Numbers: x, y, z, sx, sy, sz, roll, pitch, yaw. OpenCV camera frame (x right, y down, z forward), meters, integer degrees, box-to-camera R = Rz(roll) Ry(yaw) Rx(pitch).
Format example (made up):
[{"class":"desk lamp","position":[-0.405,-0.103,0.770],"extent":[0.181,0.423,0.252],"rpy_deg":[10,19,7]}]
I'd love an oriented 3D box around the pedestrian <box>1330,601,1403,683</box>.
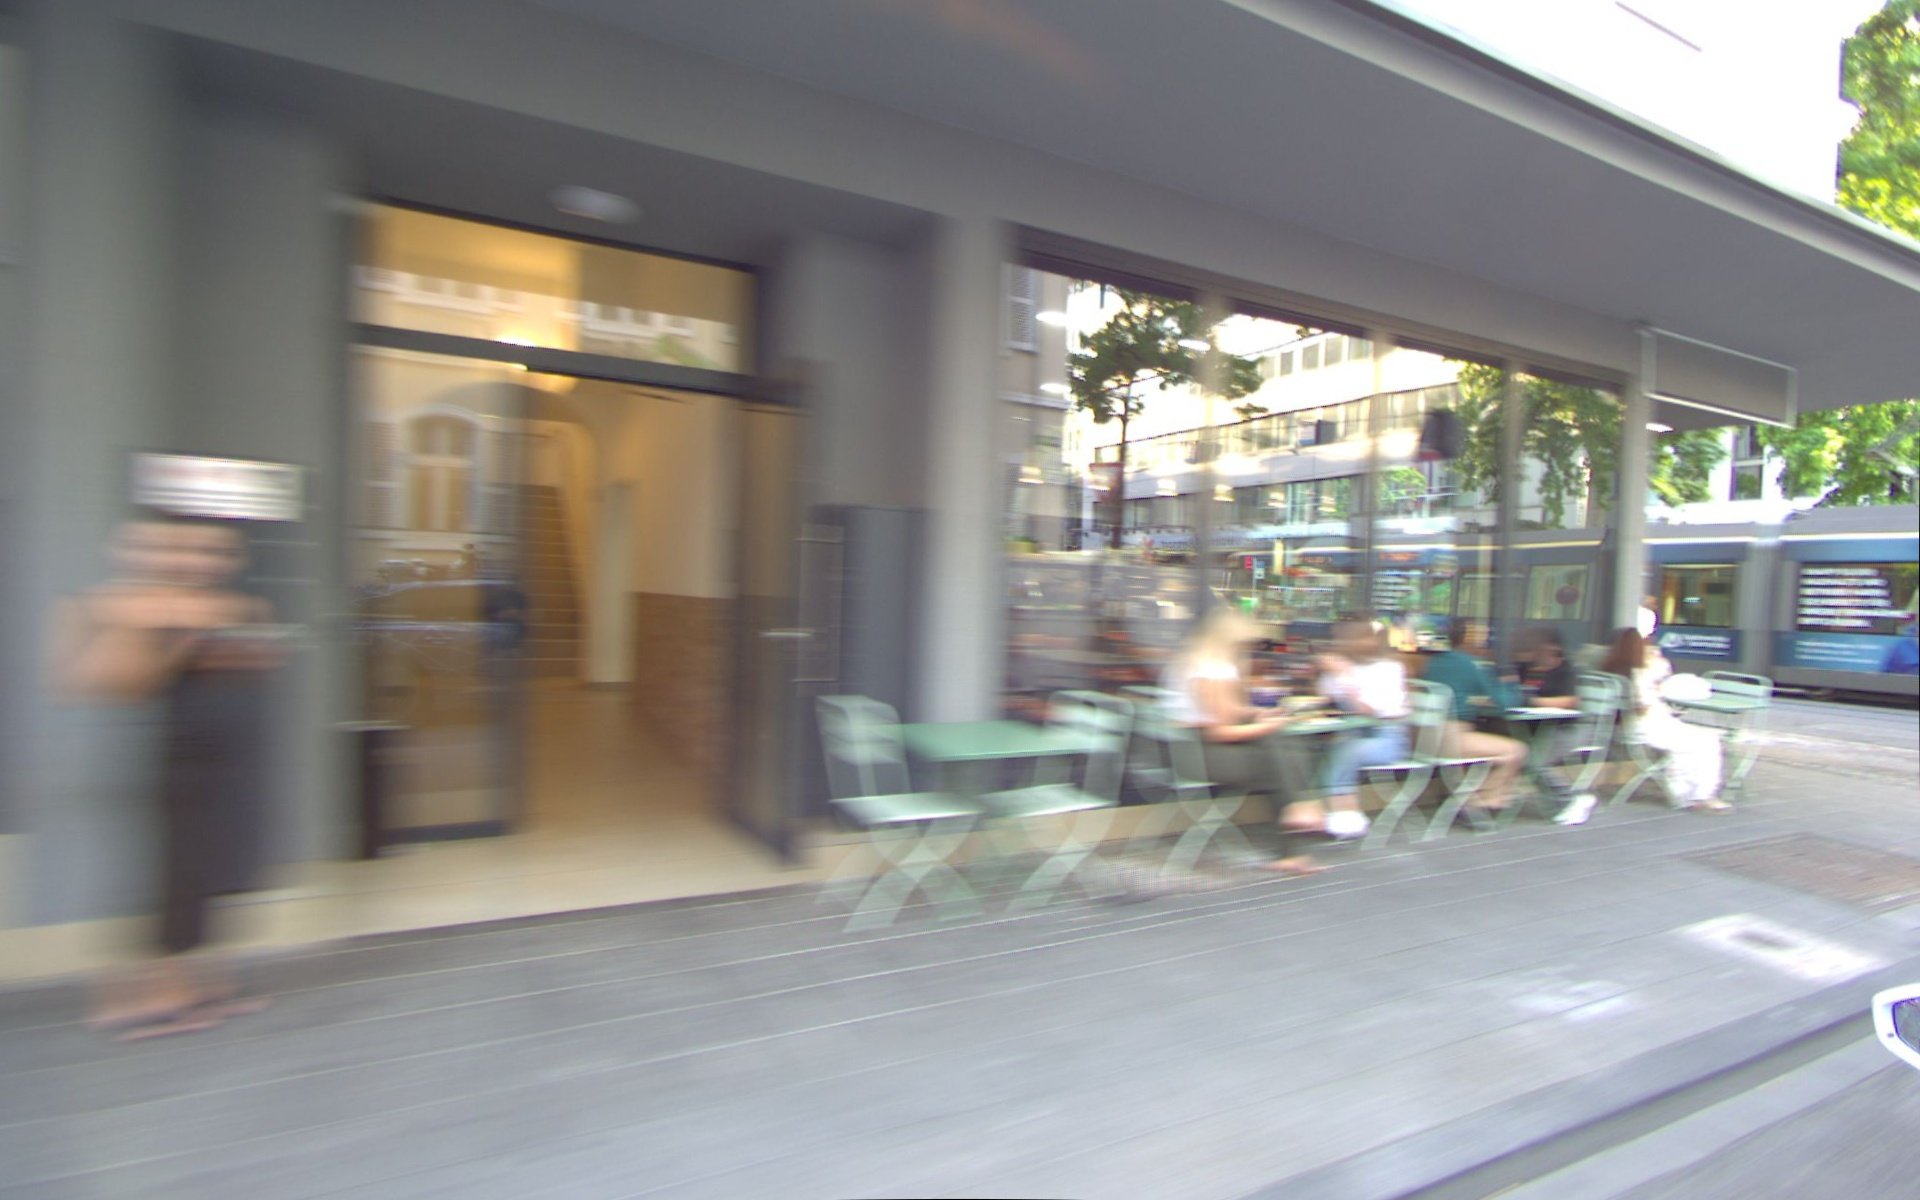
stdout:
[{"class":"pedestrian","position":[7.113,0.733,17.595],"extent":[0.709,1.380,0.918],"rpy_deg":[2,0,-26]}]

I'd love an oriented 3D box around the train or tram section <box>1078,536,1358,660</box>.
[{"class":"train or tram section","position":[8.395,-0.099,34.742],"extent":[3.017,3.570,10.452],"rpy_deg":[3,-1,-28]}]

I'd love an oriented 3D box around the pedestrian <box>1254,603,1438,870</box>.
[{"class":"pedestrian","position":[2.141,0.685,5.545],"extent":[0.695,1.303,0.857],"rpy_deg":[3,1,37]}]

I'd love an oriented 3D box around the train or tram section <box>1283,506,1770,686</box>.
[{"class":"train or tram section","position":[13.352,-0.109,25.400],"extent":[2.976,3.570,10.764],"rpy_deg":[2,0,-28]}]

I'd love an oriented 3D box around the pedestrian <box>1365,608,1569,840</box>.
[{"class":"pedestrian","position":[3.069,0.713,6.122],"extent":[0.767,1.256,0.701],"rpy_deg":[1,4,-25]}]

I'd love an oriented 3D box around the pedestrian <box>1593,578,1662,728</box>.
[{"class":"pedestrian","position":[8.228,0.639,12.404],"extent":[0.630,1.764,0.780],"rpy_deg":[2,-1,31]}]

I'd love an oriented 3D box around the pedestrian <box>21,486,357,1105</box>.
[{"class":"pedestrian","position":[-2.301,0.489,3.006],"extent":[0.648,1.591,0.636],"rpy_deg":[4,3,36]}]

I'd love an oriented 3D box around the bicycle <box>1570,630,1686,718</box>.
[{"class":"bicycle","position":[9.417,1.032,14.142],"extent":[1.846,1.154,0.621],"rpy_deg":[3,-1,-32]}]

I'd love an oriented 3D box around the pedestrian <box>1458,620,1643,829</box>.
[{"class":"pedestrian","position":[3.819,0.768,6.531],"extent":[0.682,1.212,0.701],"rpy_deg":[1,4,-25]}]

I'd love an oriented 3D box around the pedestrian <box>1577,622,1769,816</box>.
[{"class":"pedestrian","position":[4.981,0.799,7.072],"extent":[0.825,1.235,0.706],"rpy_deg":[2,1,9]}]

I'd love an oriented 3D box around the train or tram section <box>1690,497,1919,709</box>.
[{"class":"train or tram section","position":[18.277,0.129,16.091],"extent":[2.980,3.570,10.324],"rpy_deg":[2,0,-28]}]

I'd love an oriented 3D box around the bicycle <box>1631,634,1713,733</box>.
[{"class":"bicycle","position":[9.176,1.038,13.006],"extent":[0.767,1.154,1.862],"rpy_deg":[2,-1,33]}]

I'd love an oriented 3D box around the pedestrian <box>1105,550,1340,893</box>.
[{"class":"pedestrian","position":[1.300,0.559,5.059],"extent":[0.848,1.568,0.703],"rpy_deg":[1,1,-21]}]

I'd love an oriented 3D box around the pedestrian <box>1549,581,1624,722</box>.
[{"class":"pedestrian","position":[8.203,0.658,13.181],"extent":[0.629,1.764,0.781],"rpy_deg":[2,-1,19]}]

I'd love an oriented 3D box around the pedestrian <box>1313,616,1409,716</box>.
[{"class":"pedestrian","position":[5.639,0.909,14.155],"extent":[0.876,1.337,0.876],"rpy_deg":[2,-1,-25]}]

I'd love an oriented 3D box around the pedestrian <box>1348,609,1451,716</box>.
[{"class":"pedestrian","position":[5.756,0.801,13.189],"extent":[0.839,1.337,0.876],"rpy_deg":[2,-1,-25]}]
